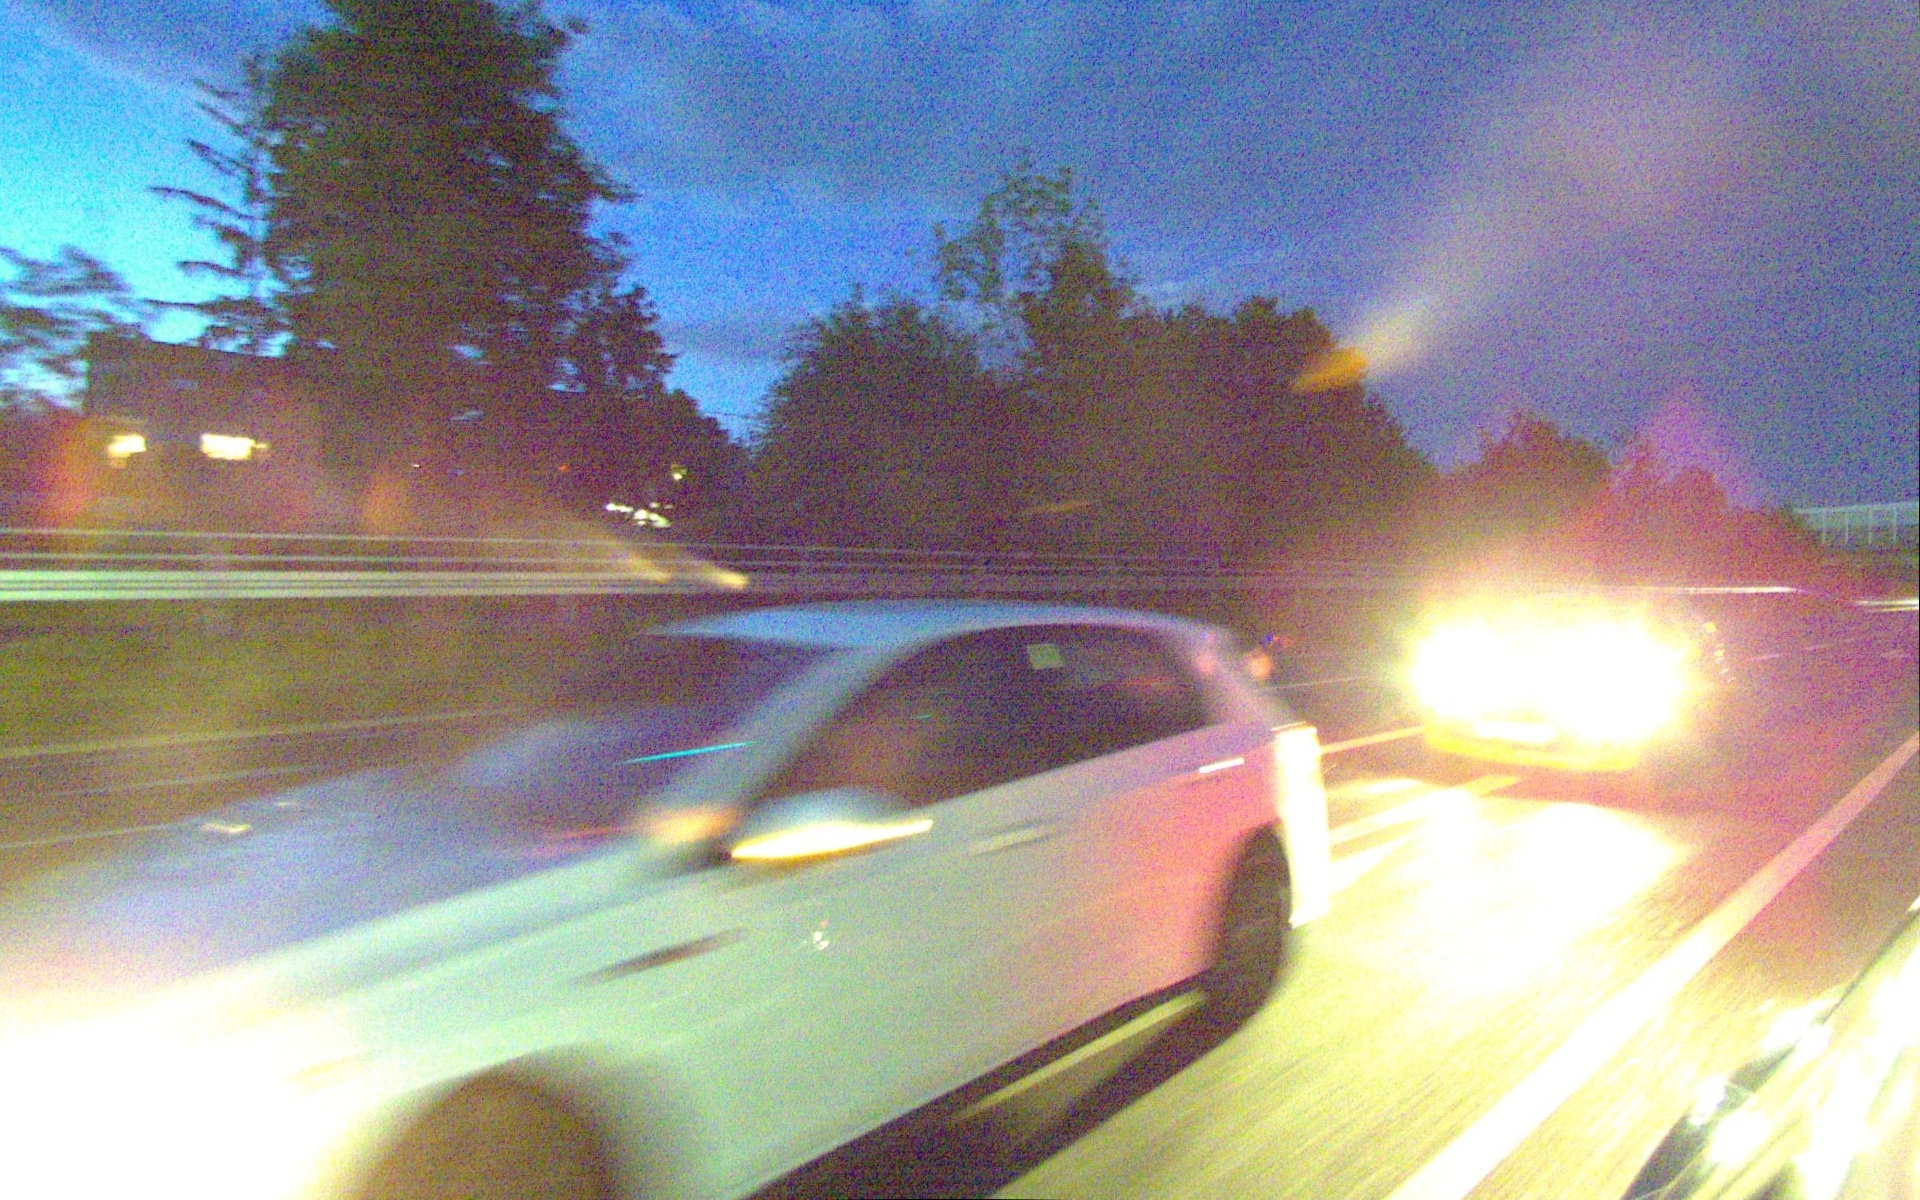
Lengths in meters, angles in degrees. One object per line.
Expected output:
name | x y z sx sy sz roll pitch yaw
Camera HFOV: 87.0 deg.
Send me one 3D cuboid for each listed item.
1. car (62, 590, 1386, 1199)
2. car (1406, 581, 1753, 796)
car | -0.333 0.712 3.490 4.121 1.478 1.760 -1 1 -42
car | 5.422 0.581 8.710 3.430 1.469 1.655 -1 1 -42
